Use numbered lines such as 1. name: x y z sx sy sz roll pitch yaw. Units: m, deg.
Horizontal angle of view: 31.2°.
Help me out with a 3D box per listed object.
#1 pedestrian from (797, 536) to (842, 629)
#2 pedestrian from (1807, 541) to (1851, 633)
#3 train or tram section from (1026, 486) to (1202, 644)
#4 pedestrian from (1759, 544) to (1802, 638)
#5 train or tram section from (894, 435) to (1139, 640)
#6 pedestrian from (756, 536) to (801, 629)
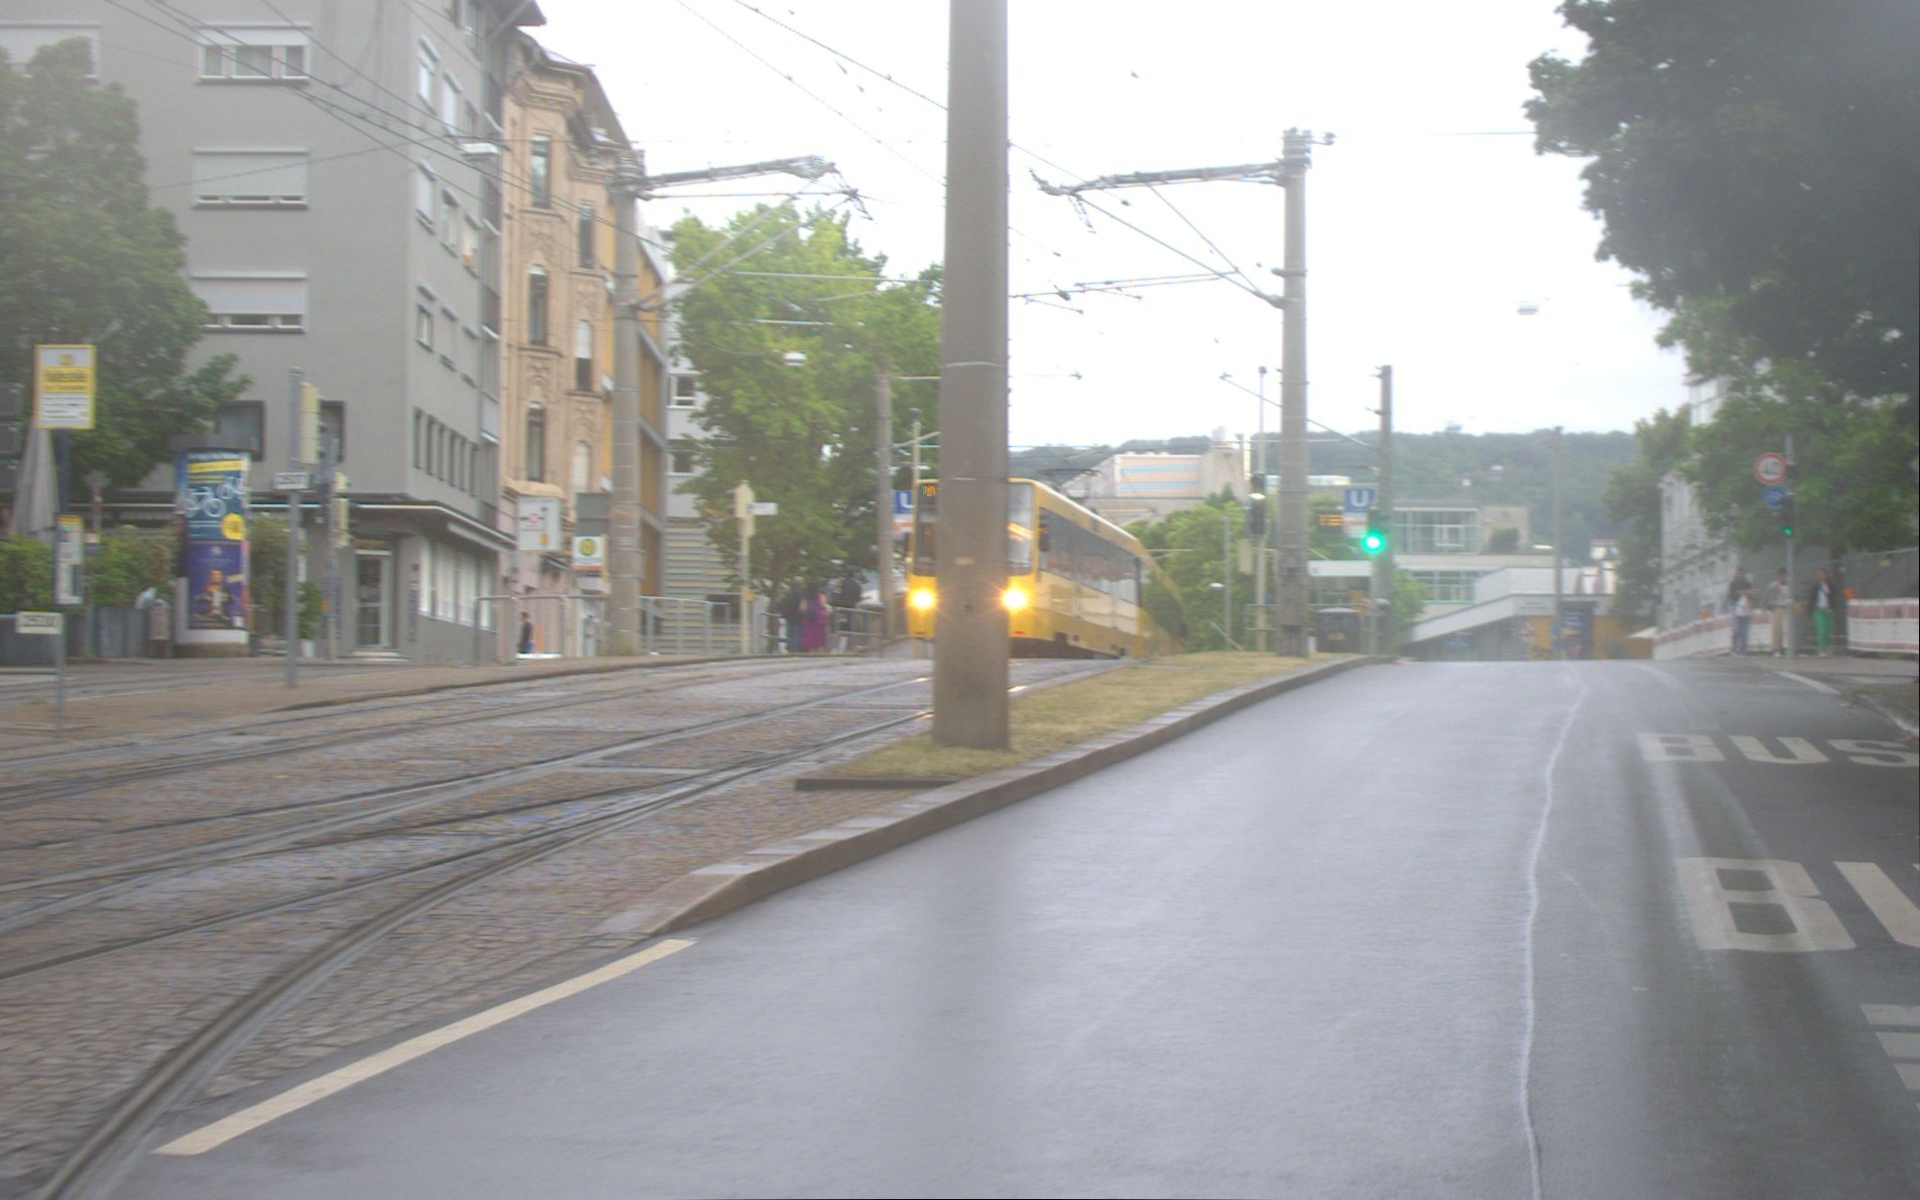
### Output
1. pedestrian: -2.726 -0.342 66.710 0.732 1.784 0.696 0 0 9
2. pedestrian: 16.885 -0.251 66.815 0.700 1.779 1.066 0 0 7
3. train or tram section: 4.358 -0.729 92.190 2.747 3.684 18.962 1 -1 8
4. pedestrian: 16.028 -0.180 67.145 0.700 1.809 0.976 0 0 7
5. train or tram section: 1.542 -1.066 73.447 2.747 3.684 18.962 1 -1 8
6. pedestrian: -3.532 -0.341 66.847 0.732 1.784 0.696 0 0 9
